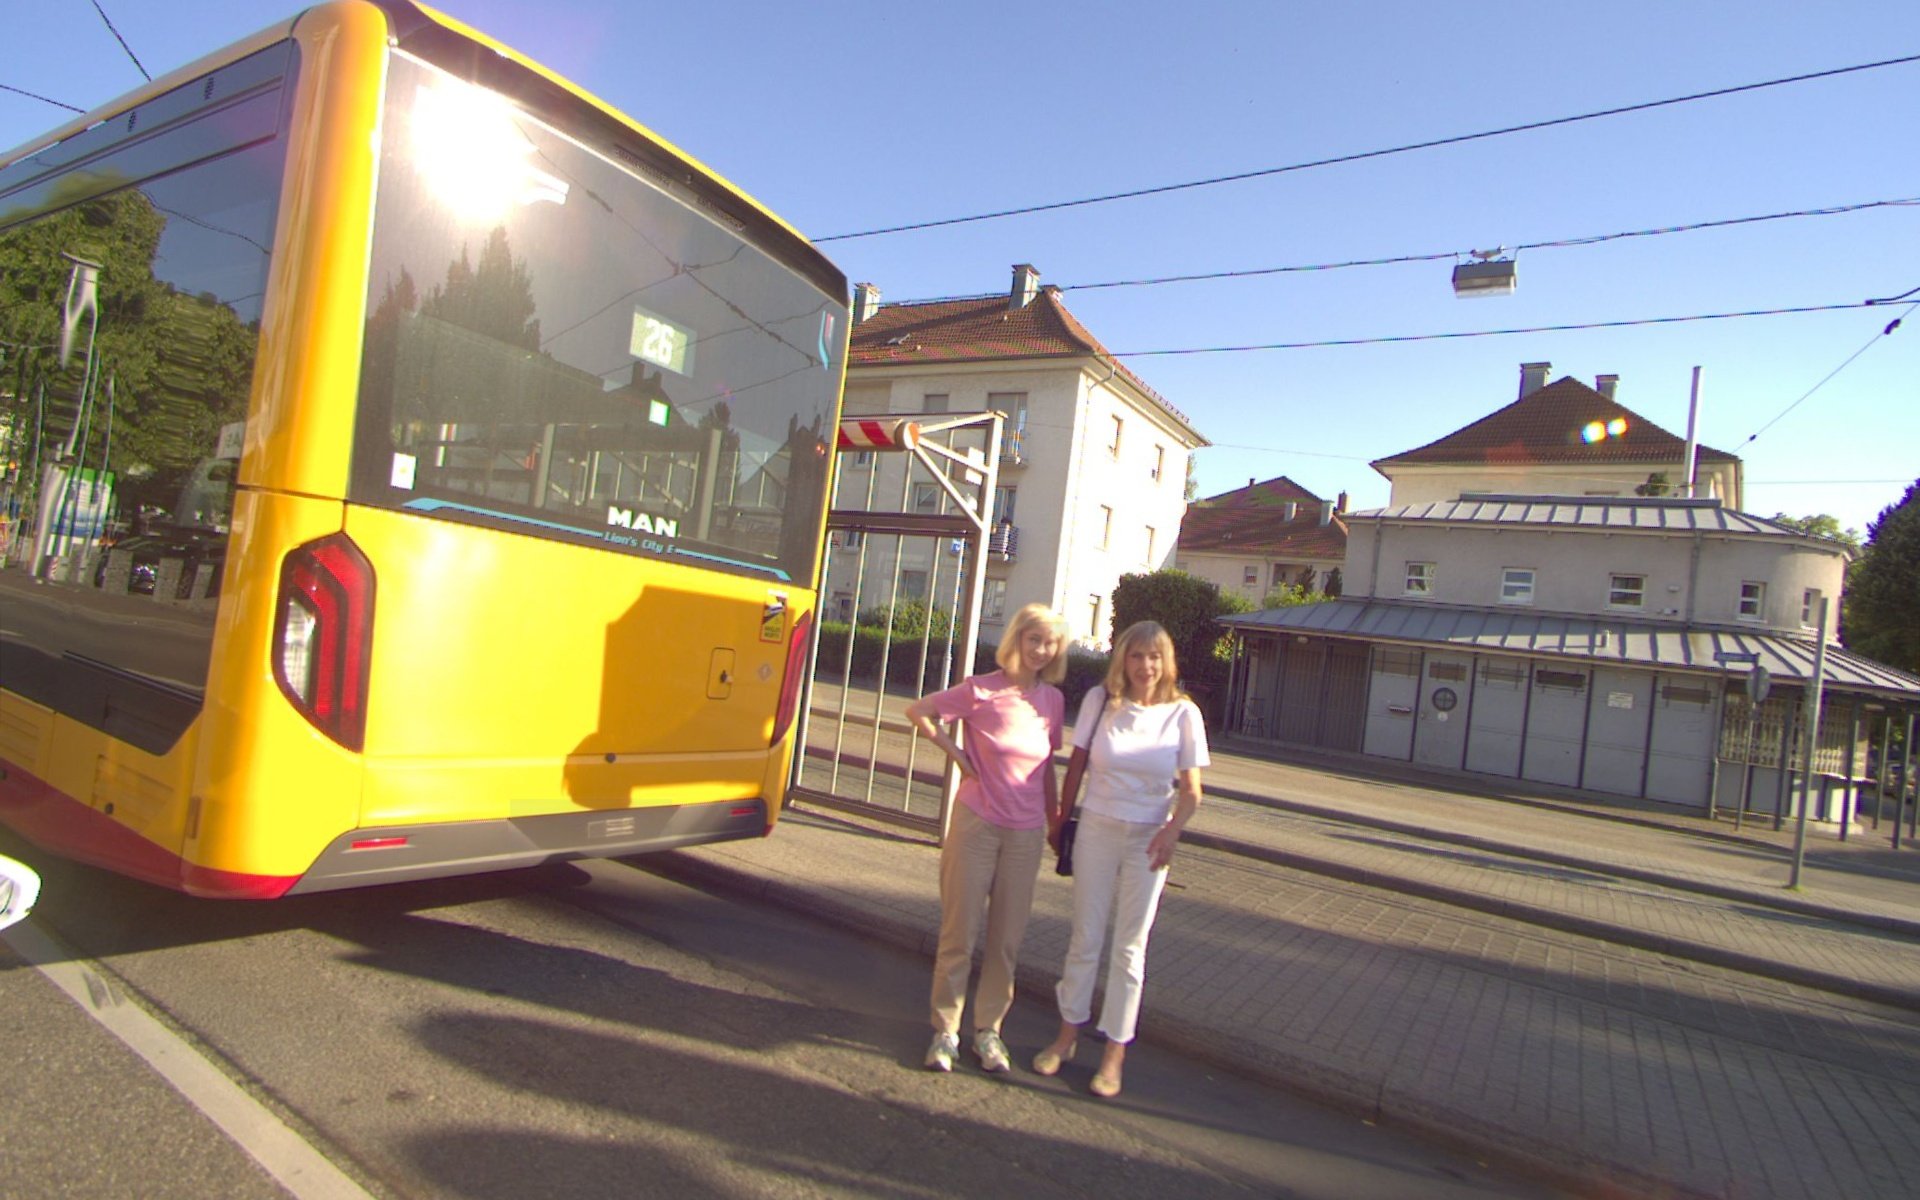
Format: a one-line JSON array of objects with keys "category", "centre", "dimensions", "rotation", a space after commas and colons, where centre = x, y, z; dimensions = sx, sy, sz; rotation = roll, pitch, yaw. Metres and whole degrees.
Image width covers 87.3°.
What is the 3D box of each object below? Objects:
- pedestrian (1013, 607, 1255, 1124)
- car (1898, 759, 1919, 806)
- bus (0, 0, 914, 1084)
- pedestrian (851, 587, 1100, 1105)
[{"category": "pedestrian", "centre": [0.585, 0.877, 3.551], "dimensions": [0.540, 1.631, 0.546], "rotation": [7, -1, -5]}, {"category": "car", "centre": [37.925, 7.168, 39.097], "dimensions": [1.768, 1.641, 3.797], "rotation": [5, -2, 39]}, {"category": "bus", "centre": [-6.080, -0.833, 7.062], "dimensions": [11.822, 3.455, 2.693], "rotation": [6, -2, 33]}, {"category": "pedestrian", "centre": [0.034, 0.817, 3.564], "dimensions": [0.625, 1.631, 0.546], "rotation": [7, -1, -5]}]
